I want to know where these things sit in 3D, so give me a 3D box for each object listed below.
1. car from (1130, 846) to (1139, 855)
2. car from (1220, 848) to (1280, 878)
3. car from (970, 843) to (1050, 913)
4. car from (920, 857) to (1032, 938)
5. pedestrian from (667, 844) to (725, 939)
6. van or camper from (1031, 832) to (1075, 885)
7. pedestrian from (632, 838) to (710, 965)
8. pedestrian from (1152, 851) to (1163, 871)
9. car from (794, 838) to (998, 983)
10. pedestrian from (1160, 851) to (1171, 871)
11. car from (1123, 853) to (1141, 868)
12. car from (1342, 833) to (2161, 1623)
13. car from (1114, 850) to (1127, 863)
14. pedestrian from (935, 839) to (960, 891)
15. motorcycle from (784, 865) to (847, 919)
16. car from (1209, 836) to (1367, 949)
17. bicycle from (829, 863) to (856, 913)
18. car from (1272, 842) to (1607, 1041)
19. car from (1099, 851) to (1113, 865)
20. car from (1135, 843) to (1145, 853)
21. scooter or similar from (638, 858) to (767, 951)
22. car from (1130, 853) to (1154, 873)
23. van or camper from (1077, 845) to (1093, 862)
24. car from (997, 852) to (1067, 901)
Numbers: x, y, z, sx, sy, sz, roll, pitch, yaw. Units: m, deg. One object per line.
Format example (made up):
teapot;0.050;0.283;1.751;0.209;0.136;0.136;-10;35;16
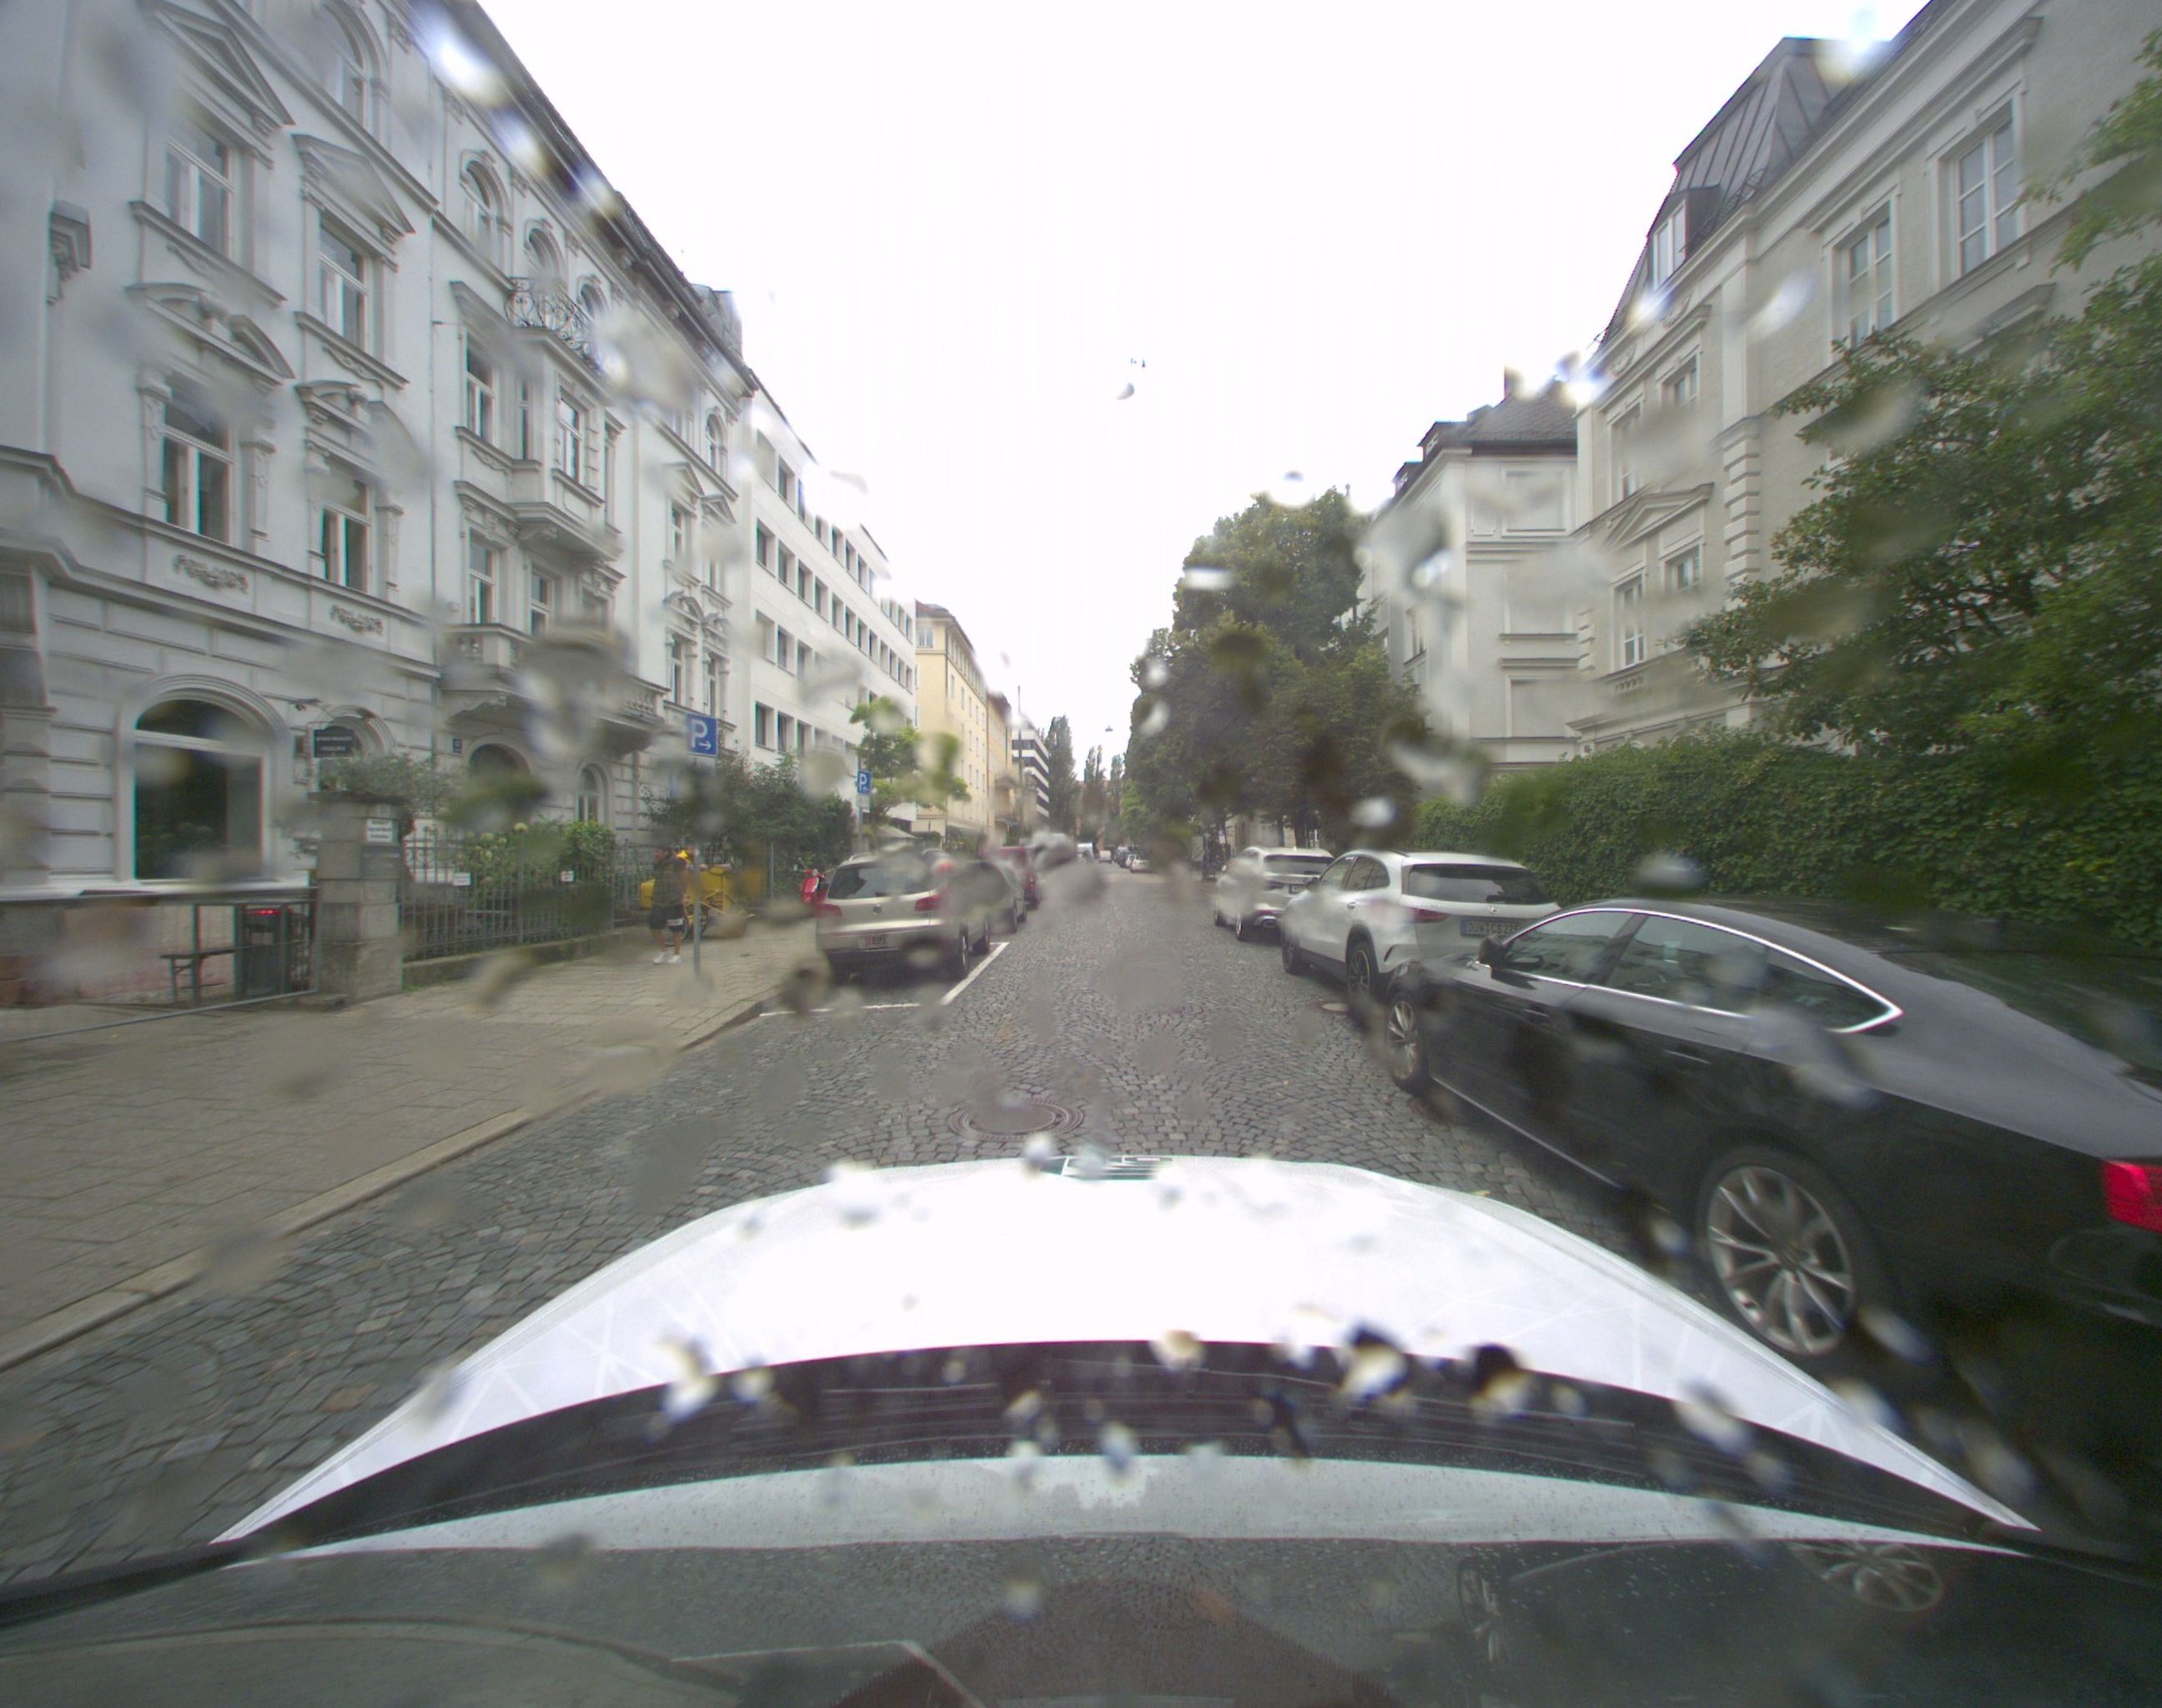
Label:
car;12.588;-0.825;192.532;1.986;2.014;4.002;0;0;2
car;11.566;0.625;55.969;3.964;2.013;2.005;0;0;8
car;-2.008;0.643;24.187;1.867;1.776;4.122;-4;0;0
car;-2.123;0.830;17.628;1.867;1.451;4.206;-2;0;-1
pedestrian;-7.043;0.667;14.914;0.715;1.687;0.695;0;0;1
van or camper;-1.454;0.247;44.225;1.986;2.652;4.002;-3;0;2
pedestrian;-5.651;0.636;11.260;0.690;1.687;0.720;0;0;1
pedestrian;7.694;0.678;82.131;0.858;2.013;0.986;0;0;-16
car;-2.366;0.651;11.573;1.867;1.580;4.254;-3;0;-1
pedestrian;8.554;0.679;82.563;0.858;2.013;0.986;0;0;-16
car;5.352;0.685;85.850;1.783;1.520;4.002;0;0;2
car;2.921;0.744;3.831;1.867;1.503;4.510;2;0;-1
car;6.267;0.441;129.030;1.986;2.013;4.002;0;0;2
pedestrian;-5.038;0.418;30.775;0.789;1.917;0.759;1;0;1
motorcycle;-6.351;0.883;19.590;0.619;1.196;1.870;0;0;10
car;3.672;0.612;15.338;1.866;1.733;4.594;2;0;1
bicycle;-6.390;0.874;21.755;0.657;1.221;2.077;0;0;-17
car;3.482;0.728;8.889;1.811;1.580;4.208;3;0;1
car;3.675;0.550;118.378;1.986;2.013;4.002;0;0;2
car;12.089;-1.297;168.004;1.986;2.014;4.002;0;0;2
scooter or similar;-6.493;0.800;14.191;0.938;1.441;2.657;0;0;1
car;4.845;0.709;65.201;1.783;1.520;4.002;0;0;2
van or camper;0.660;-0.079;128.822;2.247;2.742;5.100;0;0;2
car;-1.661;0.762;29.243;1.864;1.580;4.213;2;0;5
